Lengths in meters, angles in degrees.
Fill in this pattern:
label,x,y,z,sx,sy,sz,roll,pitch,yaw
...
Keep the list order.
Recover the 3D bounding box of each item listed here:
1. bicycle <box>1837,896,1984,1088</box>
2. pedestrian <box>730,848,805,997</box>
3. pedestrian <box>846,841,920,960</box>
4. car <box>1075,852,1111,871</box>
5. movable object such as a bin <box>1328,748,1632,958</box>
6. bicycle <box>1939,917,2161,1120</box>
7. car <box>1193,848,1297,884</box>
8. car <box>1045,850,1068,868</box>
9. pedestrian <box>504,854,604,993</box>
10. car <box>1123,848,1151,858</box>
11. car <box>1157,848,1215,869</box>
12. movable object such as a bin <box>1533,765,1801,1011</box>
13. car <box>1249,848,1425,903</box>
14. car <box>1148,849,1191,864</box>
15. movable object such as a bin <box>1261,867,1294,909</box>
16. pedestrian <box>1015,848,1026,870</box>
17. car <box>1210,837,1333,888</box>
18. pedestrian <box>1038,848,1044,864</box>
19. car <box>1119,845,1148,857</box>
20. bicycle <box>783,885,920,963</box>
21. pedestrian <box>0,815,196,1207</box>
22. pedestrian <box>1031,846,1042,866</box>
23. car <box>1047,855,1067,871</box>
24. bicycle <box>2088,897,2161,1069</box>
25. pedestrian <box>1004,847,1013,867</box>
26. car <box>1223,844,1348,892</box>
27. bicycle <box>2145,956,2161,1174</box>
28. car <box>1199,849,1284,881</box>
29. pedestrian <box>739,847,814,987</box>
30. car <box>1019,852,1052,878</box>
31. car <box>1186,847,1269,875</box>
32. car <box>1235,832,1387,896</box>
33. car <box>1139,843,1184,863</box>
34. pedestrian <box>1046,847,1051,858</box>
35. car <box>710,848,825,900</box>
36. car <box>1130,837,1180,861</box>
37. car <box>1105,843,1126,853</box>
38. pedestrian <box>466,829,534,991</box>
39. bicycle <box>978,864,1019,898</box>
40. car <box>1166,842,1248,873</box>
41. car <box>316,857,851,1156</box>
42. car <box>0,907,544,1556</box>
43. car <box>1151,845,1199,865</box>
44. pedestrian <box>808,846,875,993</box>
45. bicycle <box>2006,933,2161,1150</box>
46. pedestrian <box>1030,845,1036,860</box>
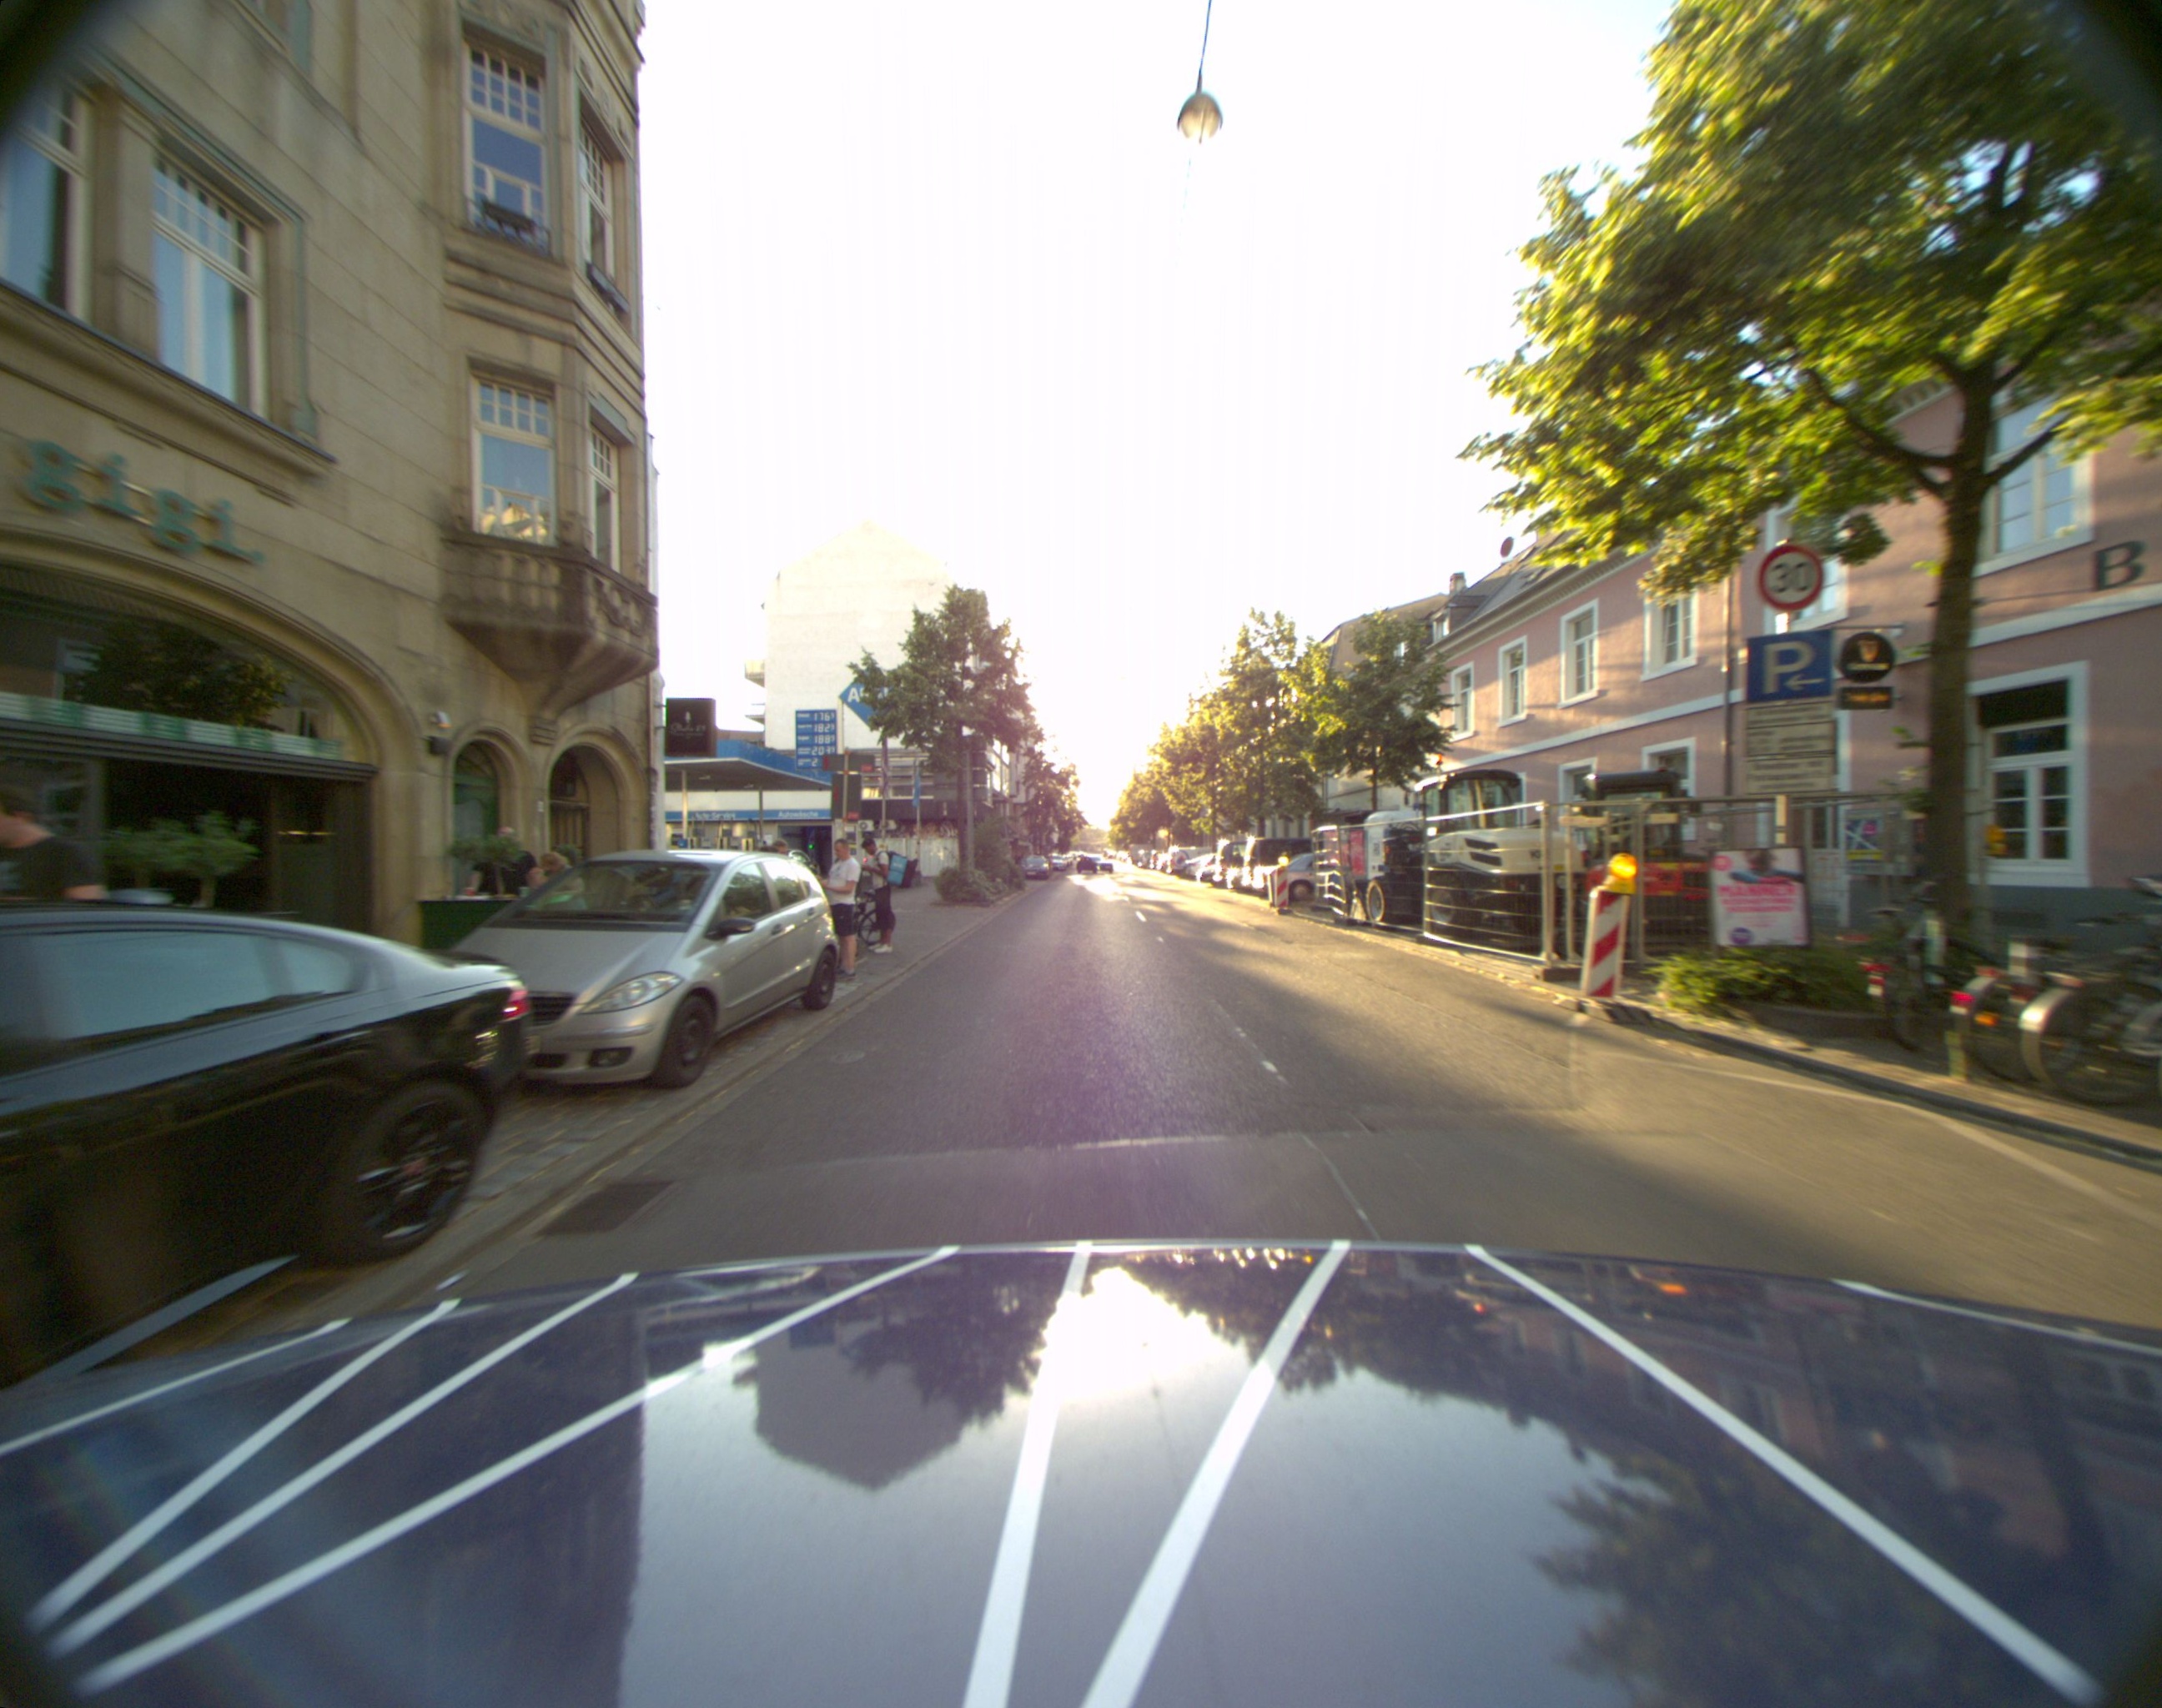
label,x,y,z,sx,sy,sz,roll,pitch,yaw
bicycle,6.141,0.944,5.603,1.551,1.110,0.443,-4,2,-32
pedestrian,-3.750,0.785,9.136,0.680,1.696,0.824,2,1,-14
pedestrian,-3.129,0.724,12.079,1.017,1.815,0.779,2,1,-9
car,0.929,0.609,61.620,1.687,1.453,4.065,-1,0,-17
movable object such as a bin,6.553,-0.036,13.483,2.631,2.952,5.302,-1,1,1
bicycle,6.378,0.975,4.672,1.687,1.072,0.444,-3,2,0
car,7.532,0.541,35.222,4.338,1.492,1.841,-2,1,-4
car,-2.284,0.472,72.469,1.884,1.565,4.691,2,1,1
pedestrian,-6.180,0.789,8.943,0.660,1.553,0.701,2,1,1
car,8.856,-0.190,120.728,4.393,1.415,1.822,-2,1,0
car,7.757,0.331,56.355,4.047,1.475,1.963,-1,1,0
movable object such as a bin,8.335,0.302,10.523,2.307,2.481,5.766,0,1,44
car,7.502,0.614,22.638,4.604,1.461,1.893,-1,1,4
car,8.829,0.201,75.876,4.162,1.431,1.593,-1,1,2
movable object such as a bin,5.341,0.911,20.651,0.691,1.099,0.883,0,1,3
pedestrian,-4.789,0.398,60.154,0.790,1.694,0.700,1,1,1
car,7.719,0.327,31.102,4.494,1.964,2.068,-1,1,1
pedestrian,-4.801,0.238,91.866,0.627,1.857,0.976,2,1,0
car,8.917,-0.548,128.600,4.718,1.800,2.053,-2,1,2
bicycle,-3.655,1.077,12.251,0.864,1.092,1.931,2,1,40
pedestrian,-5.474,0.725,3.786,0.825,1.843,1.097,2,1,-1
pedestrian,-3.966,0.196,68.047,0.924,1.749,0.762,1,1,1
car,-2.426,0.862,77.502,1.846,1.472,5.189,2,1,1
bicycle,8.322,0.886,5.368,1.686,1.142,0.444,-2,2,4
pedestrian,-5.651,0.220,58.983,0.612,1.517,0.773,0,1,1
car,7.568,0.488,28.402,4.140,1.627,1.860,-2,1,1
bicycle,6.137,1.013,3.467,1.686,1.072,0.444,-3,2,9
car,8.013,0.531,38.265,3.932,1.492,1.905,-1,1,3
pedestrian,-3.906,0.775,9.746,0.654,1.690,0.666,1,1,-43
car,-2.800,0.663,47.343,1.833,1.479,4.848,1,1,-1
car,8.373,0.401,43.758,4.488,1.476,1.734,-1,1,3
car,7.702,0.327,25.767,4.495,1.964,1.965,-2,1,-1
car,8.283,-0.072,78.618,4.510,1.942,1.919,-1,1,3
pedestrian,-5.101,-0.209,118.846,0.756,1.748,0.812,0,1,0
car,-10.233,0.580,25.224,1.739,1.422,4.907,1,2,1
car,8.659,-0.590,89.244,5.672,2.606,2.171,-2,1,1
car,8.416,-1.424,185.668,4.782,2.344,2.152,-1,1,-27
pedestrian,-6.877,0.641,9.009,0.462,1.864,0.500,0,1,-14
bicycle,-2.897,0.945,26.869,0.482,1.136,1.684,3,1,31
car,7.986,0.234,48.474,4.882,1.897,1.973,-1,1,1
car,-3.393,0.864,6.252,1.691,1.566,4.013,2,1,1
car,-3.481,0.986,1.373,1.789,1.367,4.523,2,1,0
car,8.440,0.095,68.308,4.148,1.796,1.807,-1,1,2
pedestrian,-2.970,0.773,9.479,0.679,1.744,0.824,0,1,-10
bicycle,6.235,0.987,4.117,1.686,1.072,0.444,-3,2,9
pedestrian,-5.813,-0.173,91.842,0.590,1.799,0.835,2,1,0
